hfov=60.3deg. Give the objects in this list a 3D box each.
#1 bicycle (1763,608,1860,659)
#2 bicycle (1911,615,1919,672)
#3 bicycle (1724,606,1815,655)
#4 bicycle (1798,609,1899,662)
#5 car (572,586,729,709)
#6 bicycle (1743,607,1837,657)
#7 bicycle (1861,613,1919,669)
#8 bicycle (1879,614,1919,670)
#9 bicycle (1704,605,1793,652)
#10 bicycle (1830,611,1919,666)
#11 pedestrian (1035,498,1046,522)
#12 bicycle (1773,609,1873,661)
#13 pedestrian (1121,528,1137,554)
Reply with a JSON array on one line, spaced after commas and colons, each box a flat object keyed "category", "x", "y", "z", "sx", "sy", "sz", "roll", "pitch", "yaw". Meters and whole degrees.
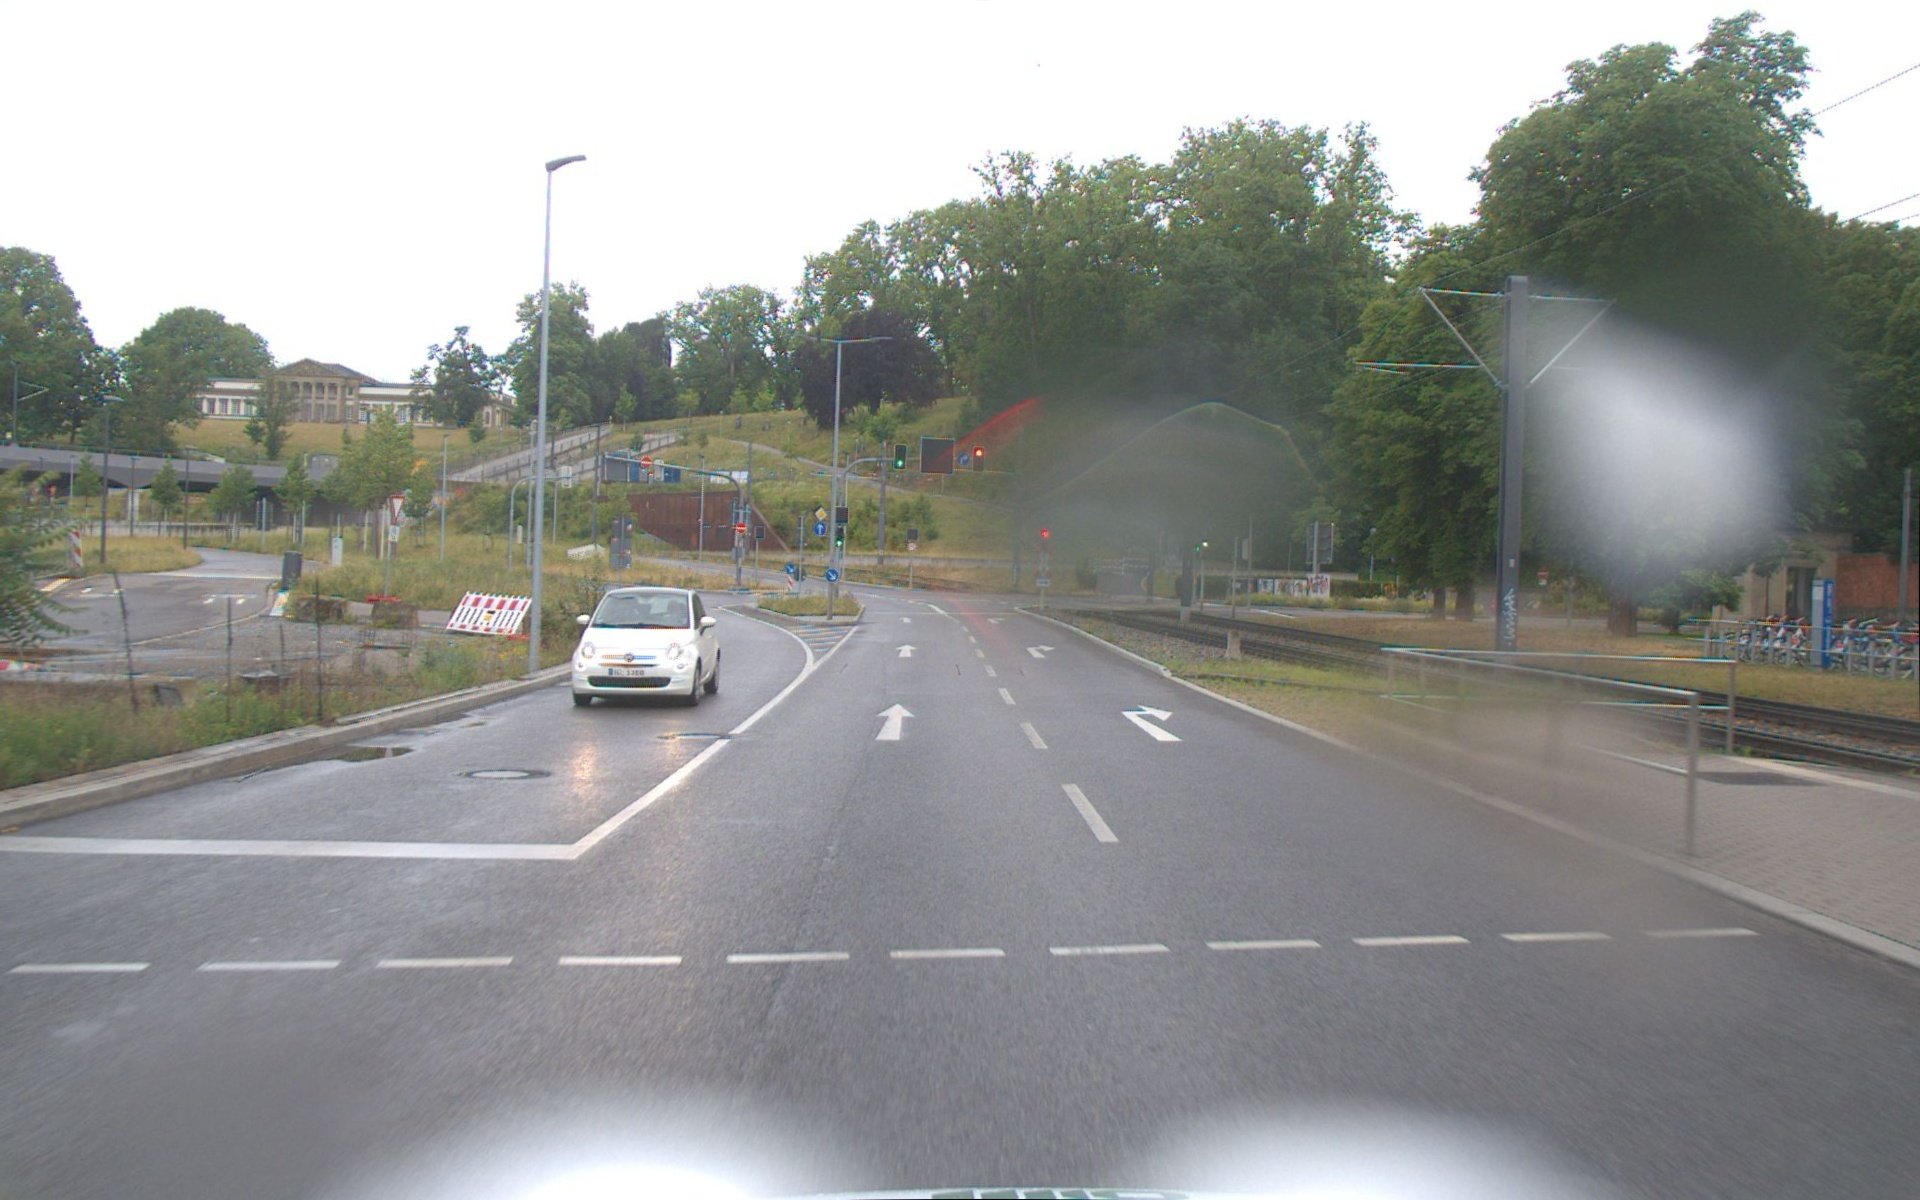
[{"category": "bicycle", "x": 18.581, "y": 0.725, "z": 36.104, "sx": 1.774, "sy": 1.050, "sz": 0.652, "roll": 1, "pitch": 1, "yaw": -3}, {"category": "bicycle", "x": 18.802, "y": 0.829, "z": 30.833, "sx": 1.774, "sy": 1.050, "sz": 0.652, "roll": 1, "pitch": 1, "yaw": -3}, {"category": "bicycle", "x": 18.535, "y": 0.695, "z": 37.884, "sx": 1.774, "sy": 1.050, "sz": 0.652, "roll": 1, "pitch": 1, "yaw": -3}, {"category": "bicycle", "x": 18.657, "y": 0.748, "z": 34.738, "sx": 1.774, "sy": 1.050, "sz": 0.652, "roll": 1, "pitch": 1, "yaw": -3}, {"category": "car", "x": -4.089, "y": 0.579, "z": 22.362, "sx": 1.555, "sy": 1.517, "sz": 3.712, "roll": 0, "pitch": 0, "yaw": -2}, {"category": "bicycle", "x": 18.563, "y": 0.712, "z": 37.006, "sx": 1.774, "sy": 1.050, "sz": 0.652, "roll": 1, "pitch": 1, "yaw": -3}, {"category": "bicycle", "x": 18.698, "y": 0.804, "z": 32.384, "sx": 1.774, "sy": 1.050, "sz": 0.652, "roll": 1, "pitch": 1, "yaw": -3}, {"category": "bicycle", "x": 18.690, "y": 0.812, "z": 31.677, "sx": 1.810, "sy": 1.050, "sz": 0.652, "roll": 1, "pitch": 1, "yaw": -3}, {"category": "bicycle", "x": 18.469, "y": 0.668, "z": 38.765, "sx": 1.774, "sy": 1.050, "sz": 0.652, "roll": 1, "pitch": 1, "yaw": -3}, {"category": "bicycle", "x": 18.539, "y": 0.773, "z": 33.219, "sx": 1.774, "sy": 1.052, "sz": 0.652, "roll": 1, "pitch": 1, "yaw": -4}, {"category": "pedestrian", "x": 7.014, "y": -7.805, "z": 143.714, "sx": 0.776, "sy": 2.047, "sz": 0.654, "roll": -3, "pitch": 7, "yaw": -17}, {"category": "bicycle", "x": 18.482, "y": 0.745, "z": 35.428, "sx": 1.798, "sy": 1.050, "sz": 0.652, "roll": 1, "pitch": 1, "yaw": -4}, {"category": "pedestrian", "x": 12.130, "y": -4.235, "z": 118.759, "sx": 0.937, "sy": 1.812, "sz": 1.124, "roll": 4, "pitch": 2, "yaw": 10}]
